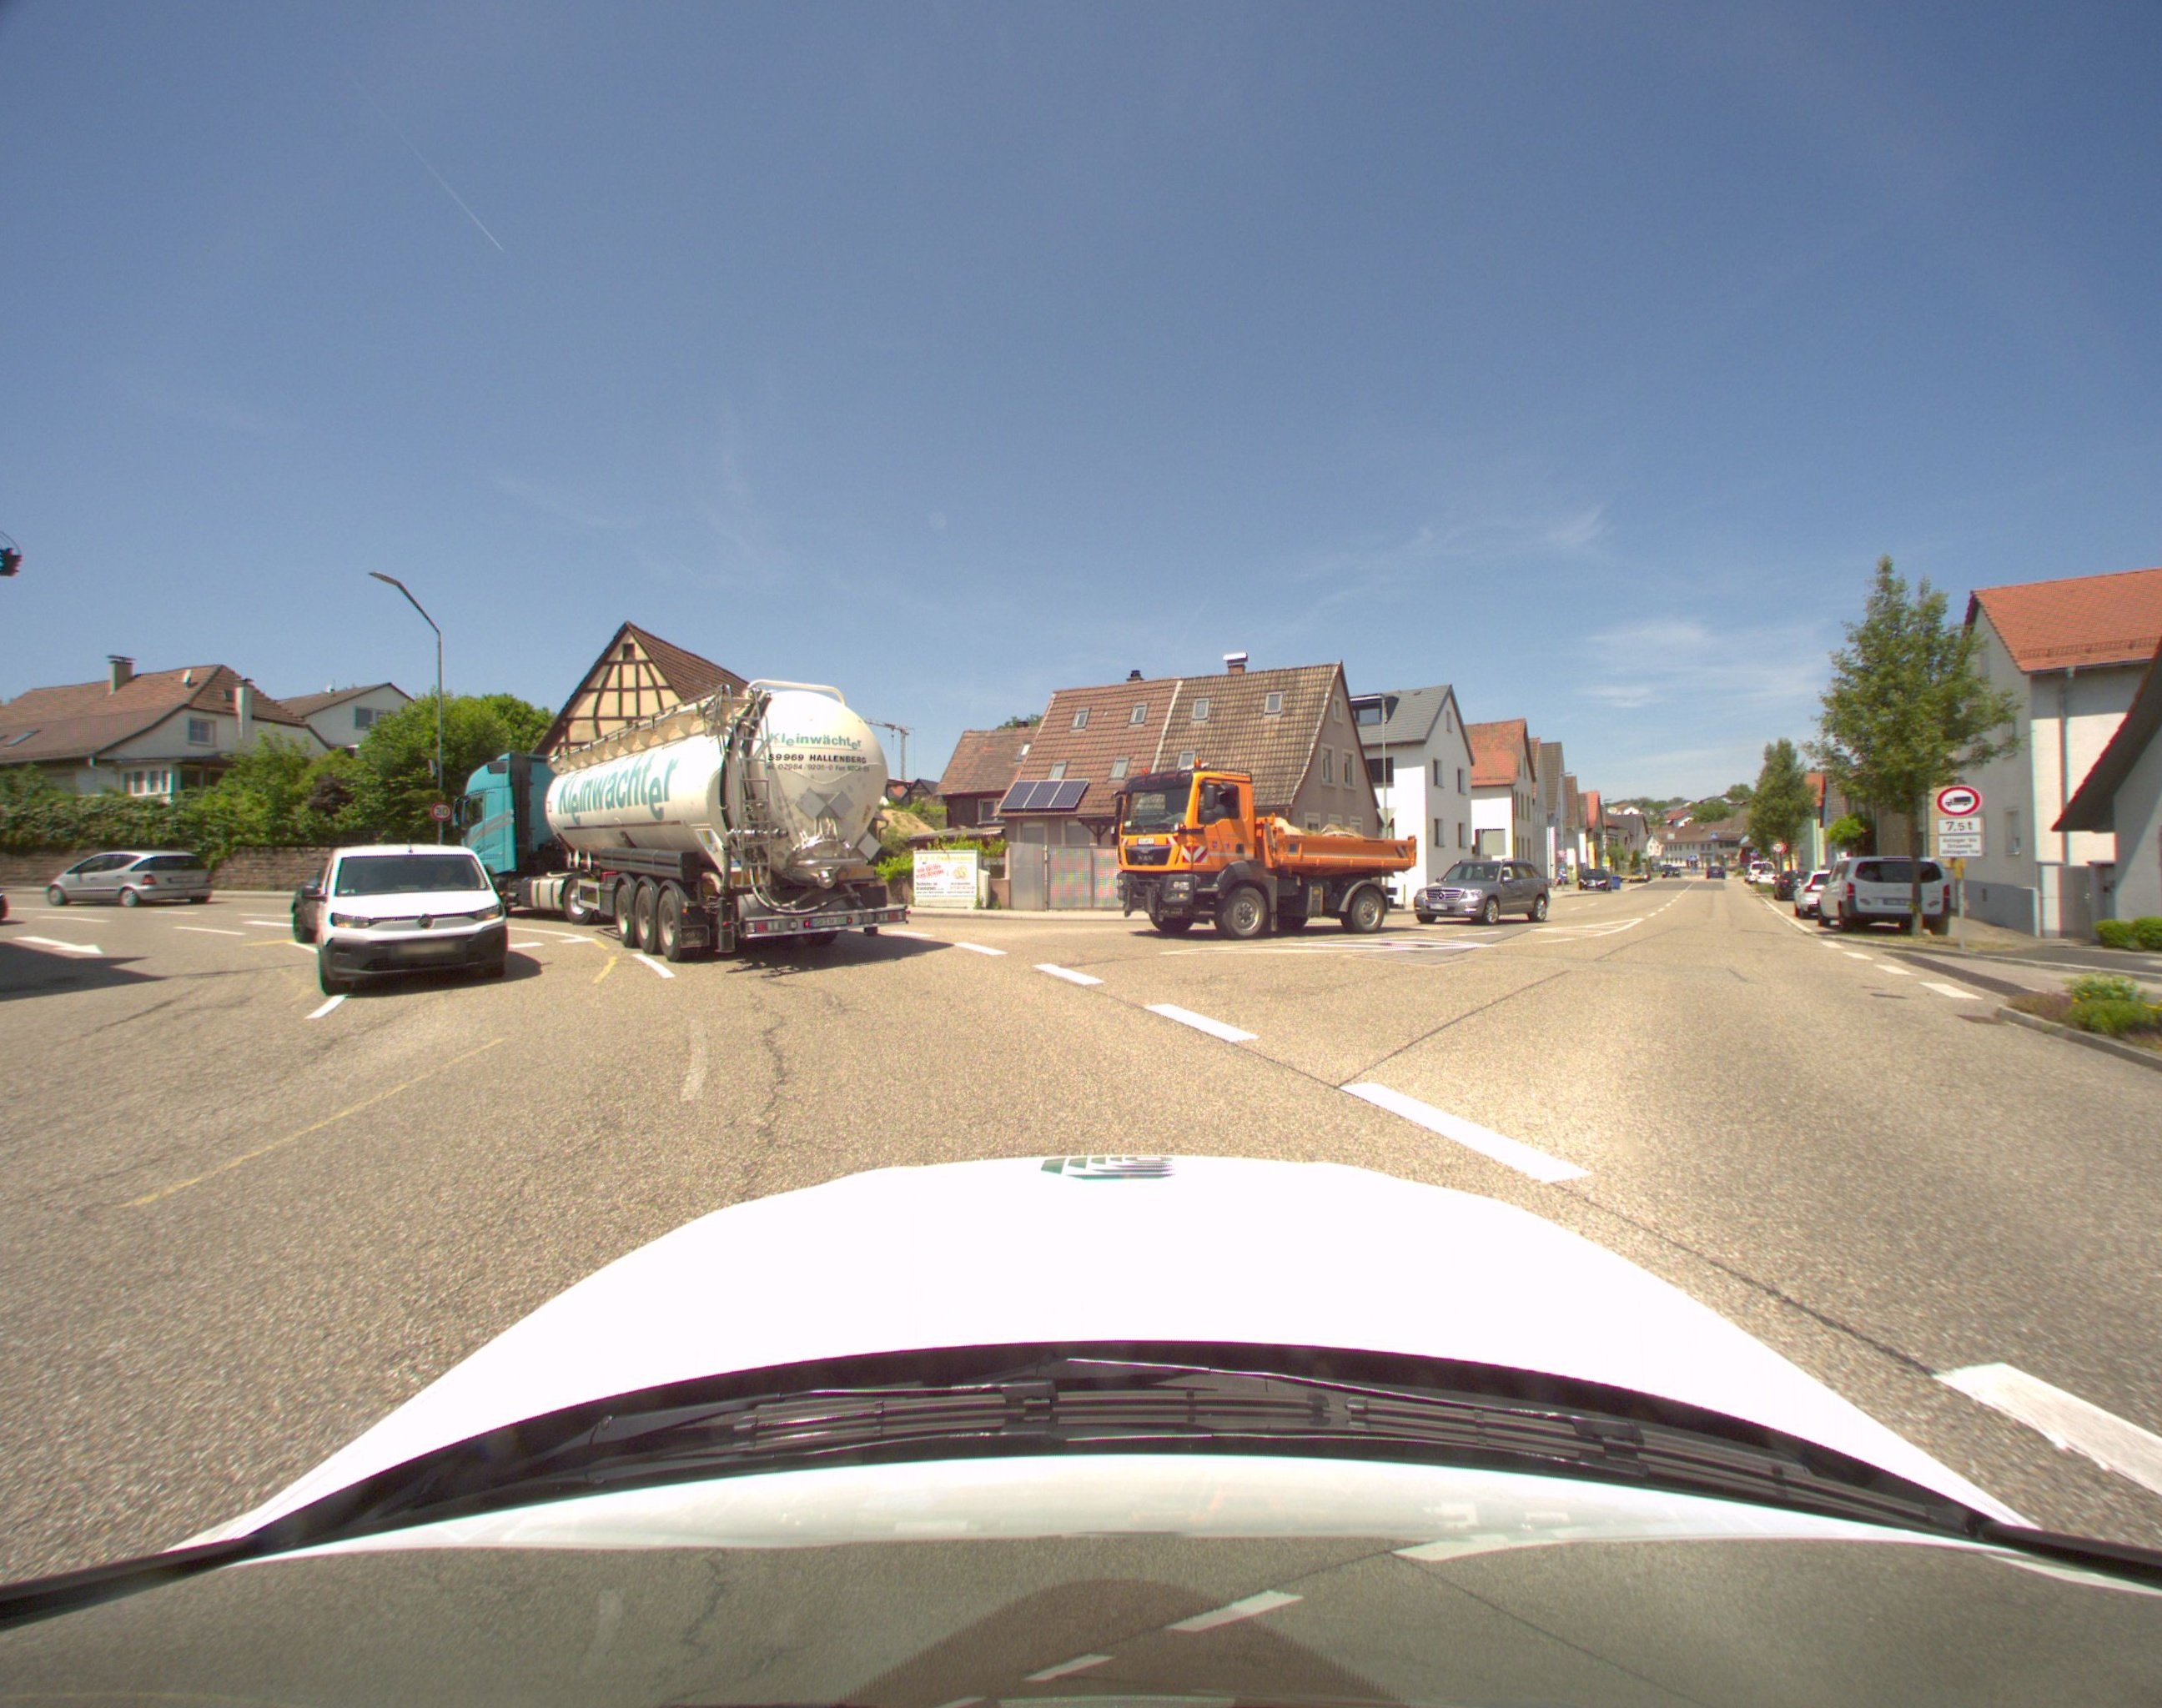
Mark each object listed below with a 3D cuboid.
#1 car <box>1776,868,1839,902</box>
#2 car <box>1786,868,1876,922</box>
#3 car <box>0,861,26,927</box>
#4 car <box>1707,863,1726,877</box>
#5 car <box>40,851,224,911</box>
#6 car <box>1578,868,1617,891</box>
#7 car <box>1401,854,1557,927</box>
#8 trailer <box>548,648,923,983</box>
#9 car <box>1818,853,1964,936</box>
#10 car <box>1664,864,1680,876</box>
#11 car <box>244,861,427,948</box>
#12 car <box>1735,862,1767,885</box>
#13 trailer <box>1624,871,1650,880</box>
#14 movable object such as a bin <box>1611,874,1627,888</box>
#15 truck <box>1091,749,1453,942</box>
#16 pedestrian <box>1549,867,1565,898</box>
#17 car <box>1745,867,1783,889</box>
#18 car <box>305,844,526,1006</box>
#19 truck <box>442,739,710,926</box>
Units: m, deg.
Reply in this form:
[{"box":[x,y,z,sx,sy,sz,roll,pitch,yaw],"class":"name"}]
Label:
[{"box":[36.967,1.549,41.523,1.974,1.585,4.025,-1,0,36],"class":"car"},{"box":[25.224,1.334,27.524,1.799,1.634,4.234,-1,-1,37],"class":"car"},{"box":[-25.794,0.897,18.025,3.953,1.442,1.852,0,1,20],"class":"car"},{"box":[77.170,1.936,98.922,1.701,1.596,4.025,0,-1,37],"class":"car"},{"box":[-26.933,0.764,23.161,3.572,1.585,1.793,-1,-1,10],"class":"car"},{"box":[37.829,1.825,59.591,1.701,1.596,4.024,0,-1,43],"class":"car"},{"box":[10.281,0.903,20.897,4.333,1.675,1.977,2,-2,-39],"class":"car"},{"box":[-7.107,-0.461,14.933,2.978,3.948,11.481,0,0,-41],"class":"trailer"},{"box":[20.956,1.015,21.280,1.974,1.912,4.351,-1,-2,35],"class":"car"},{"box":[80.206,2.147,110.441,1.701,1.596,4.025,0,-1,37],"class":"car"},{"box":[-15.196,0.923,16.552,3.948,1.524,1.809,0,0,33],"class":"car"},{"box":[60.123,1.715,73.127,1.974,1.992,4.025,0,-1,36],"class":"car"},{"box":[56.028,2.169,82.106,1.932,0.777,2.737,0,-1,29],"class":"trailer"},{"box":[41.768,2.082,63.229,0.911,1.049,0.949,-1,-1,38],"class":"movable object such as a bin"},{"box":[4.074,-0.030,16.566,7.487,3.181,2.643,2,-2,-32],"class":"truck"},{"box":[32.293,1.917,55.258,0.762,2.014,0.982,-1,-1,44],"class":"pedestrian"},{"box":[53.246,1.852,63.549,1.974,1.585,4.025,0,-1,36],"class":"car"},{"box":[-9.361,0.790,11.308,4.465,1.785,1.891,0,0,44],"class":"car"},{"box":[-12.275,-0.432,19.825,5.509,3.965,3.015,-1,0,26],"class":"truck"}]
